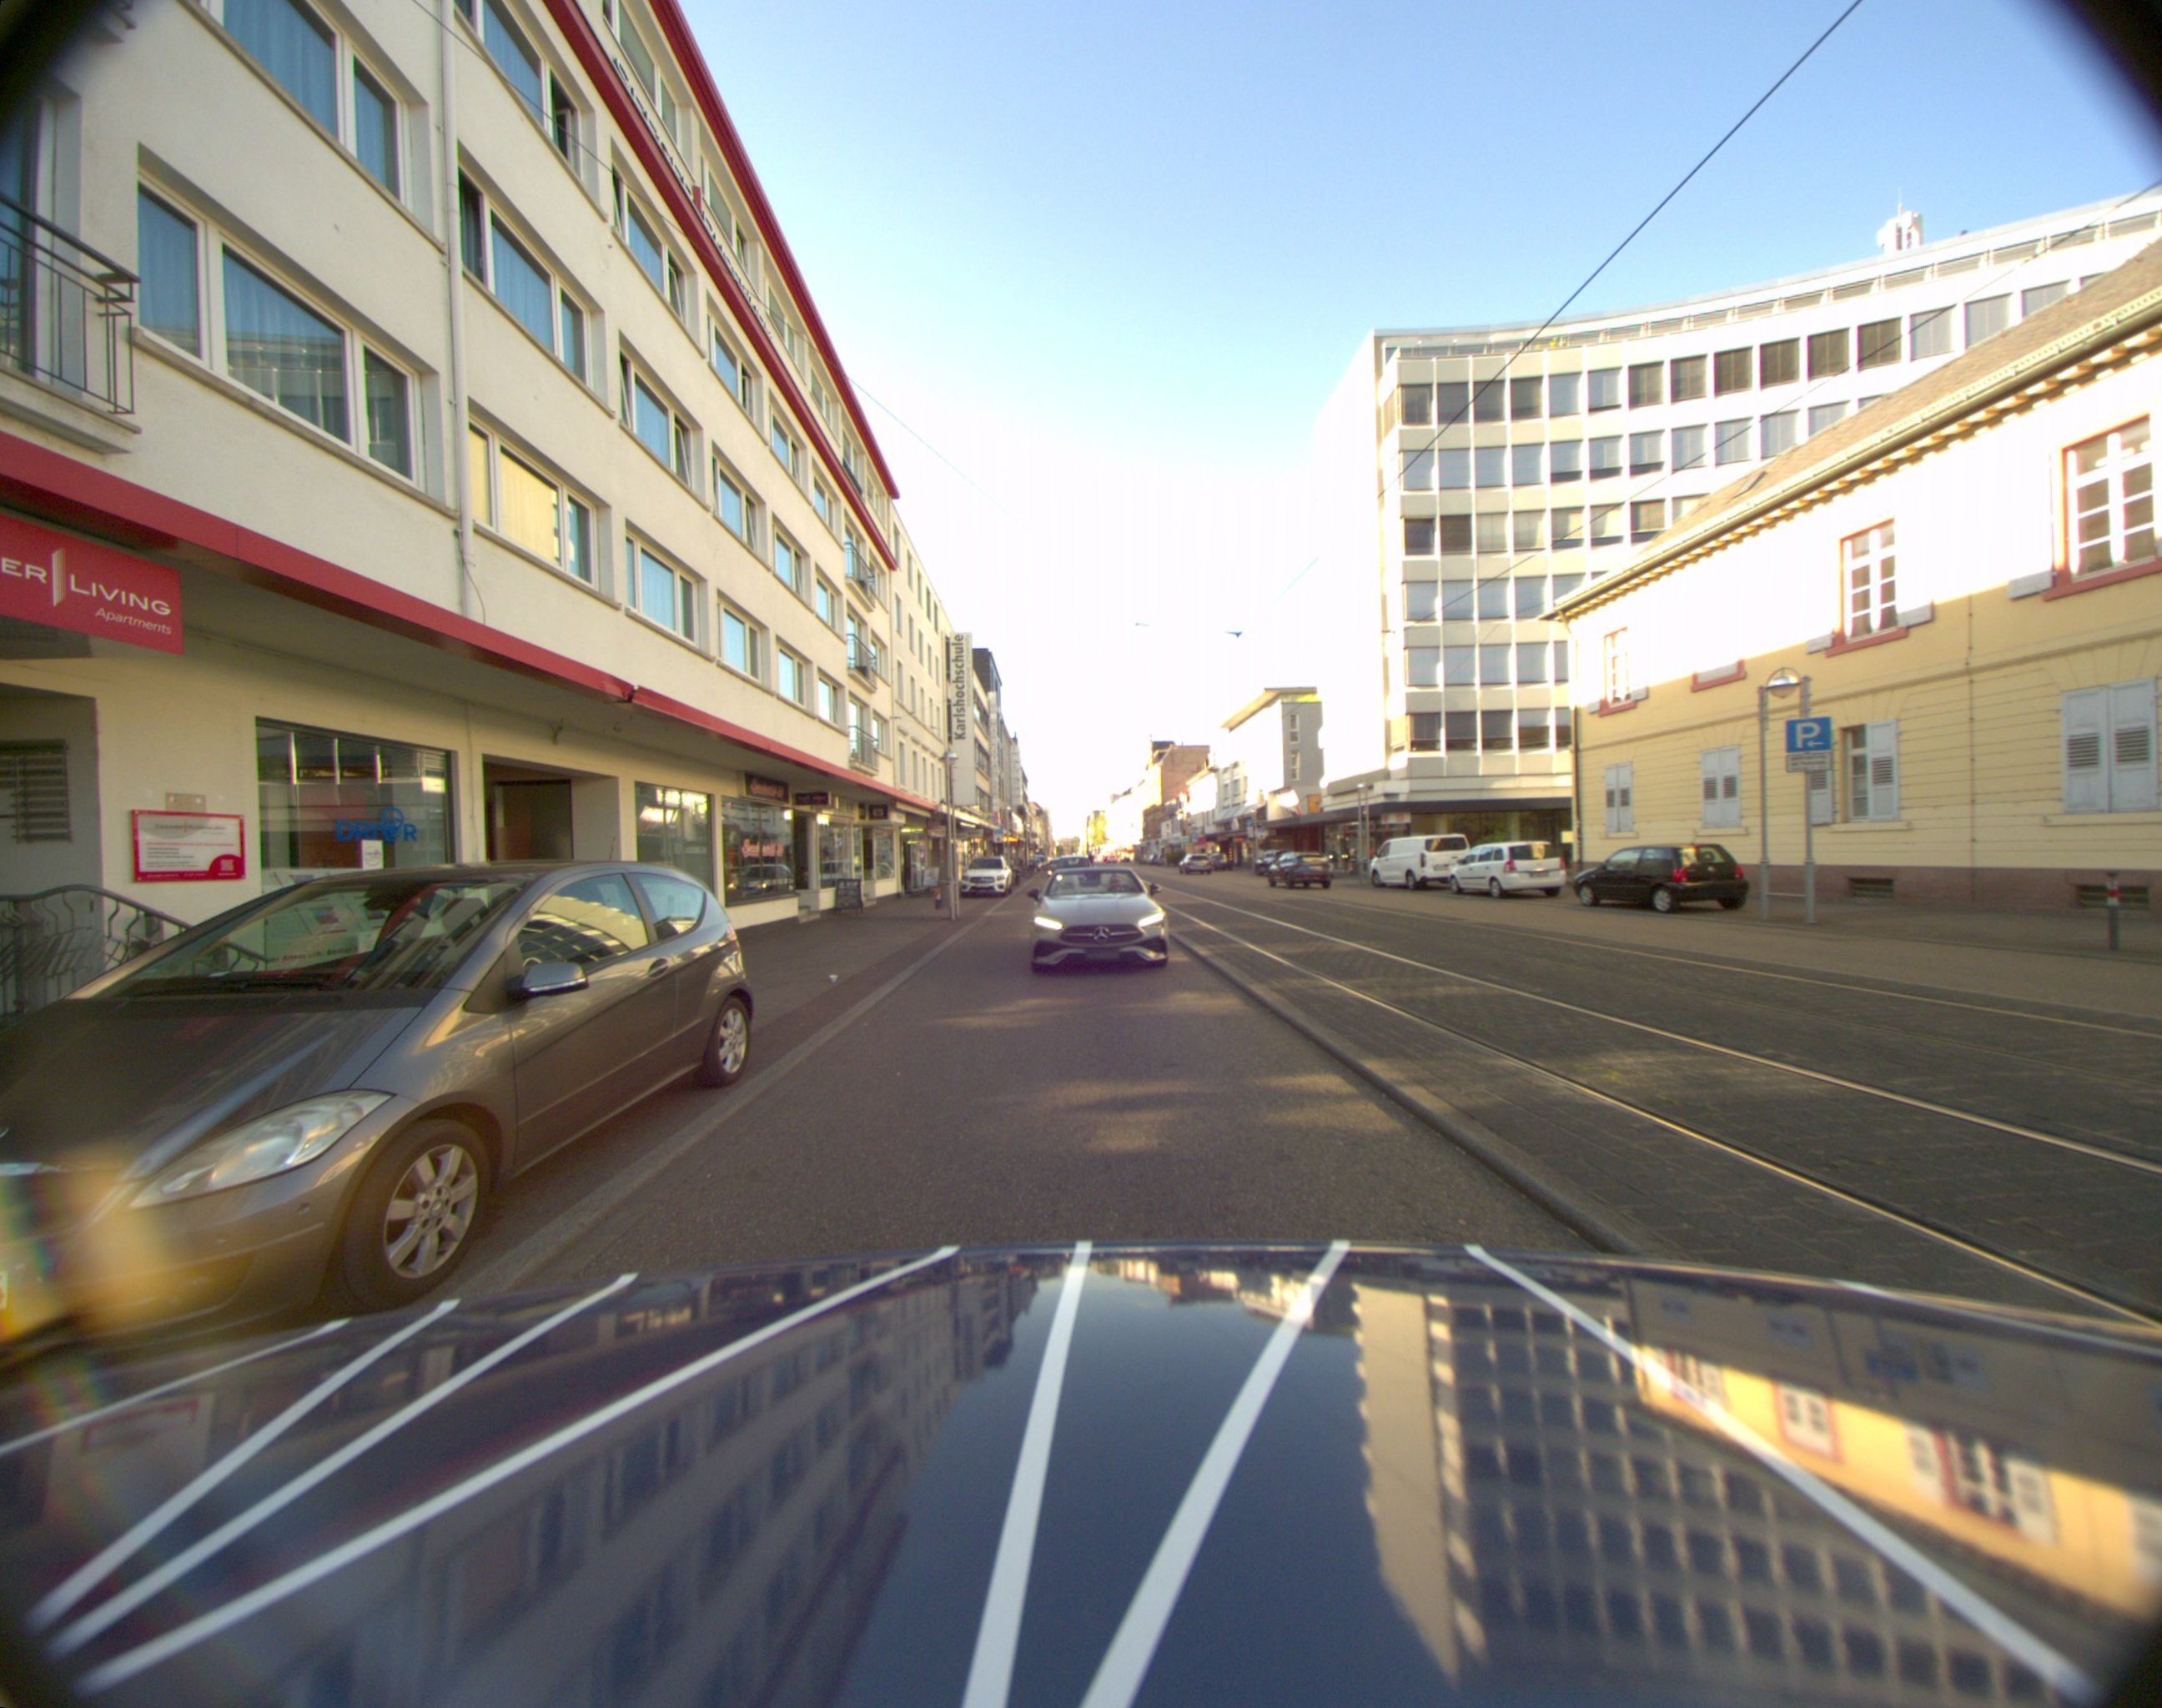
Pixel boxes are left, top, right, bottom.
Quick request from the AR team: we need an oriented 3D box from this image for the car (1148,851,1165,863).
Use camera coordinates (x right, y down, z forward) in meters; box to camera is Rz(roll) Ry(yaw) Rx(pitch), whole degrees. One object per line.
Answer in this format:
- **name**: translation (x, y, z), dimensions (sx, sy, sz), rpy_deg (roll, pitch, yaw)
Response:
- **car**: translation (10.930, 0.397, 109.605), dimensions (1.822, 1.505, 4.761), rpy_deg (-2, 1, -1)

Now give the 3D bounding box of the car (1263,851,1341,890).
- **car**: translation (9.251, 0.651, 32.173), dimensions (1.769, 1.503, 4.278), rpy_deg (-2, 0, -3)

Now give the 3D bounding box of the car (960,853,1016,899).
- **car**: translation (-3.794, 0.848, 31.882), dimensions (1.854, 1.714, 5.191), rpy_deg (0, 1, -2)

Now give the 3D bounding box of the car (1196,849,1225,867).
- **car**: translation (12.080, 0.370, 71.269), dimensions (1.741, 1.514, 4.851), rpy_deg (-4, 1, -1)

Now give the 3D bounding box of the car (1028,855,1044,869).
- **car**: translation (-5.117, 0.853, 86.595), dimensions (1.726, 1.476, 4.415), rpy_deg (0, 1, -1)

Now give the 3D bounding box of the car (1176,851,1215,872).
- **car**: translation (8.504, 0.533, 56.838), dimensions (1.885, 1.487, 4.928), rpy_deg (0, 0, -3)

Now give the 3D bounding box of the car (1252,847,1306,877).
- **car**: translation (12.305, 0.446, 47.565), dimensions (1.983, 1.669, 4.654), rpy_deg (-4, 1, -1)

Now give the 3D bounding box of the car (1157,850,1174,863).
- **car**: translation (11.107, 0.358, 100.140), dimensions (1.701, 1.594, 2.890), rpy_deg (-3, 1, -1)

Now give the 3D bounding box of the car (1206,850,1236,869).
- **car**: translation (11.978, 0.463, 65.296), dimensions (1.605, 1.514, 3.588), rpy_deg (-4, 1, -4)

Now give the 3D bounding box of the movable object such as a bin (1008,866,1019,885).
- **movable object such as a bin**: translation (-3.777, 1.190, 42.589), dimensions (0.523, 1.008, 0.671), rpy_deg (-1, 1, 1)

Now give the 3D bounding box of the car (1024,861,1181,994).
- **car**: translation (0.197, 0.906, 11.509), dimensions (1.858, 1.463, 4.785), rpy_deg (-1, 1, -2)

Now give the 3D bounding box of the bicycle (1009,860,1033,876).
- **bicycle**: translation (-4.513, 1.042, 57.207), dimensions (1.792, 1.210, 0.669), rpy_deg (-1, 1, -2)

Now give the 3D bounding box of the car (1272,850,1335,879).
- **car**: translation (12.361, 0.559, 42.518), dimensions (1.893, 1.413, 4.655), rpy_deg (-4, 1, -2)

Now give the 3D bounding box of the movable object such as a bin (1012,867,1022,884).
- **movable object such as a bin**: translation (-3.694, 1.216, 43.878), dimensions (0.489, 0.952, 0.457), rpy_deg (-1, 1, 2)

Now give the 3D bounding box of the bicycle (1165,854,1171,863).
- **bicycle**: translation (10.664, 0.511, 93.048), dimensions (0.520, 1.084, 1.715), rpy_deg (-4, 1, -1)

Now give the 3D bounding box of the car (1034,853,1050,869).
- **car**: translation (-4.809, 0.790, 93.115), dimensions (1.821, 1.849, 4.548), rpy_deg (-1, 1, -5)

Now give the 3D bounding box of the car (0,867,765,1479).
- **car**: translation (-3.253, 0.912, 3.898), dimensions (1.750, 1.622, 3.648), rpy_deg (-1, 0, -1)

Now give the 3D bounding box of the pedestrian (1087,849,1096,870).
- **pedestrian**: translation (0.900, 0.442, 65.442), dimensions (0.806, 1.827, 0.746), rpy_deg (0, 1, -3)

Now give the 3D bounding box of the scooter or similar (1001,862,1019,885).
- **scooter or similar**: translation (-3.939, 1.081, 42.032), dimensions (0.995, 1.224, 0.319), rpy_deg (0, 1, -3)

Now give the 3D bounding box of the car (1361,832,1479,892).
- **car**: translation (12.723, 0.255, 28.947), dimensions (1.999, 1.964, 5.095), rpy_deg (-4, 1, -2)

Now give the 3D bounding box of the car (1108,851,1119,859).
- **car**: translation (6.379, 0.173, 150.435), dimensions (1.802, 1.625, 3.675), rpy_deg (-1, 1, -1)

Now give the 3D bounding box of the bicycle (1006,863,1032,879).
- **bicycle**: translation (-4.546, 1.234, 55.780), dimensions (1.792, 1.153, 0.669), rpy_deg (-1, 1, -2)

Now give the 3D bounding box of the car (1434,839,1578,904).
- **car**: translation (12.815, 0.449, 23.298), dimensions (1.812, 1.676, 4.648), rpy_deg (-4, 1, 1)

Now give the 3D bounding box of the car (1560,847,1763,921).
- **car**: translation (12.854, 0.581, 17.137), dimensions (1.618, 1.392, 3.719), rpy_deg (-4, 1, -2)

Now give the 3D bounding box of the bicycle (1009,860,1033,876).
- **bicycle**: translation (-4.567, 1.075, 57.980), dimensions (1.792, 1.210, 0.587), rpy_deg (-1, 1, -2)

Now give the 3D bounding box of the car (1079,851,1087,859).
- **car**: translation (0.600, 0.343, 216.109), dimensions (1.999, 2.002, 3.999), rpy_deg (-4, 1, 0)
